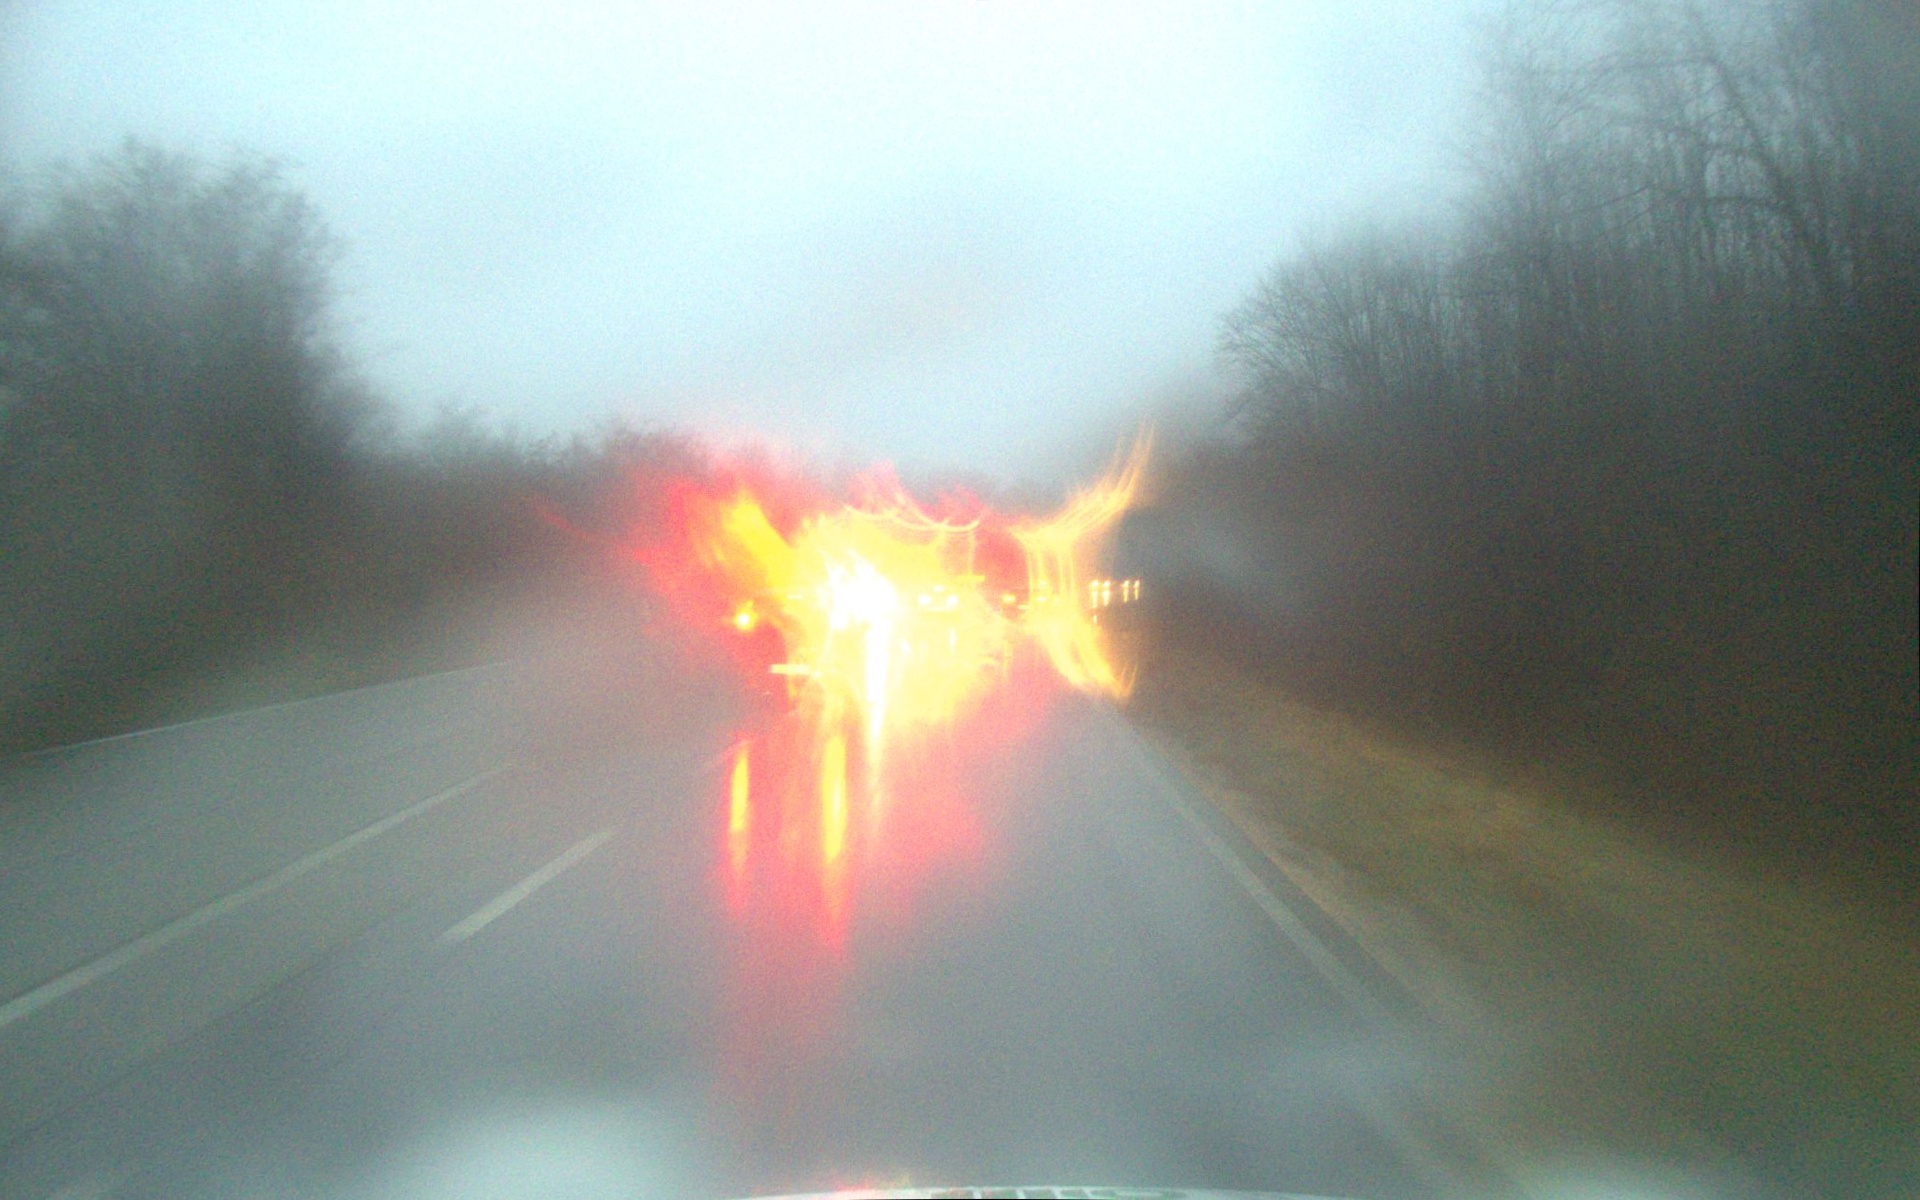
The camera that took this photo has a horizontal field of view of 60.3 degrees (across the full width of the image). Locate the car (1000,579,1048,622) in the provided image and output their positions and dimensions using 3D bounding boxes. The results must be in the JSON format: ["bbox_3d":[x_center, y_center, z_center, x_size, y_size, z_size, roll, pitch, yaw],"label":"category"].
[{"bbox_3d":[2.283,-0.013,59.189,1.644,1.413,4.100,1,1,2],"label":"car"}]

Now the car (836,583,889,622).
[{"bbox_3d":[-4.394,0.087,75.141,1.952,1.677,4.723,1,0,2],"label":"car"}]

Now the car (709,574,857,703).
[{"bbox_3d":[-2.211,0.424,21.526,1.599,1.445,4.169,2,1,-3],"label":"car"}]

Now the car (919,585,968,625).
[{"bbox_3d":[-0.698,0.184,72.553,1.964,1.583,4.518,2,1,1],"label":"car"}]
